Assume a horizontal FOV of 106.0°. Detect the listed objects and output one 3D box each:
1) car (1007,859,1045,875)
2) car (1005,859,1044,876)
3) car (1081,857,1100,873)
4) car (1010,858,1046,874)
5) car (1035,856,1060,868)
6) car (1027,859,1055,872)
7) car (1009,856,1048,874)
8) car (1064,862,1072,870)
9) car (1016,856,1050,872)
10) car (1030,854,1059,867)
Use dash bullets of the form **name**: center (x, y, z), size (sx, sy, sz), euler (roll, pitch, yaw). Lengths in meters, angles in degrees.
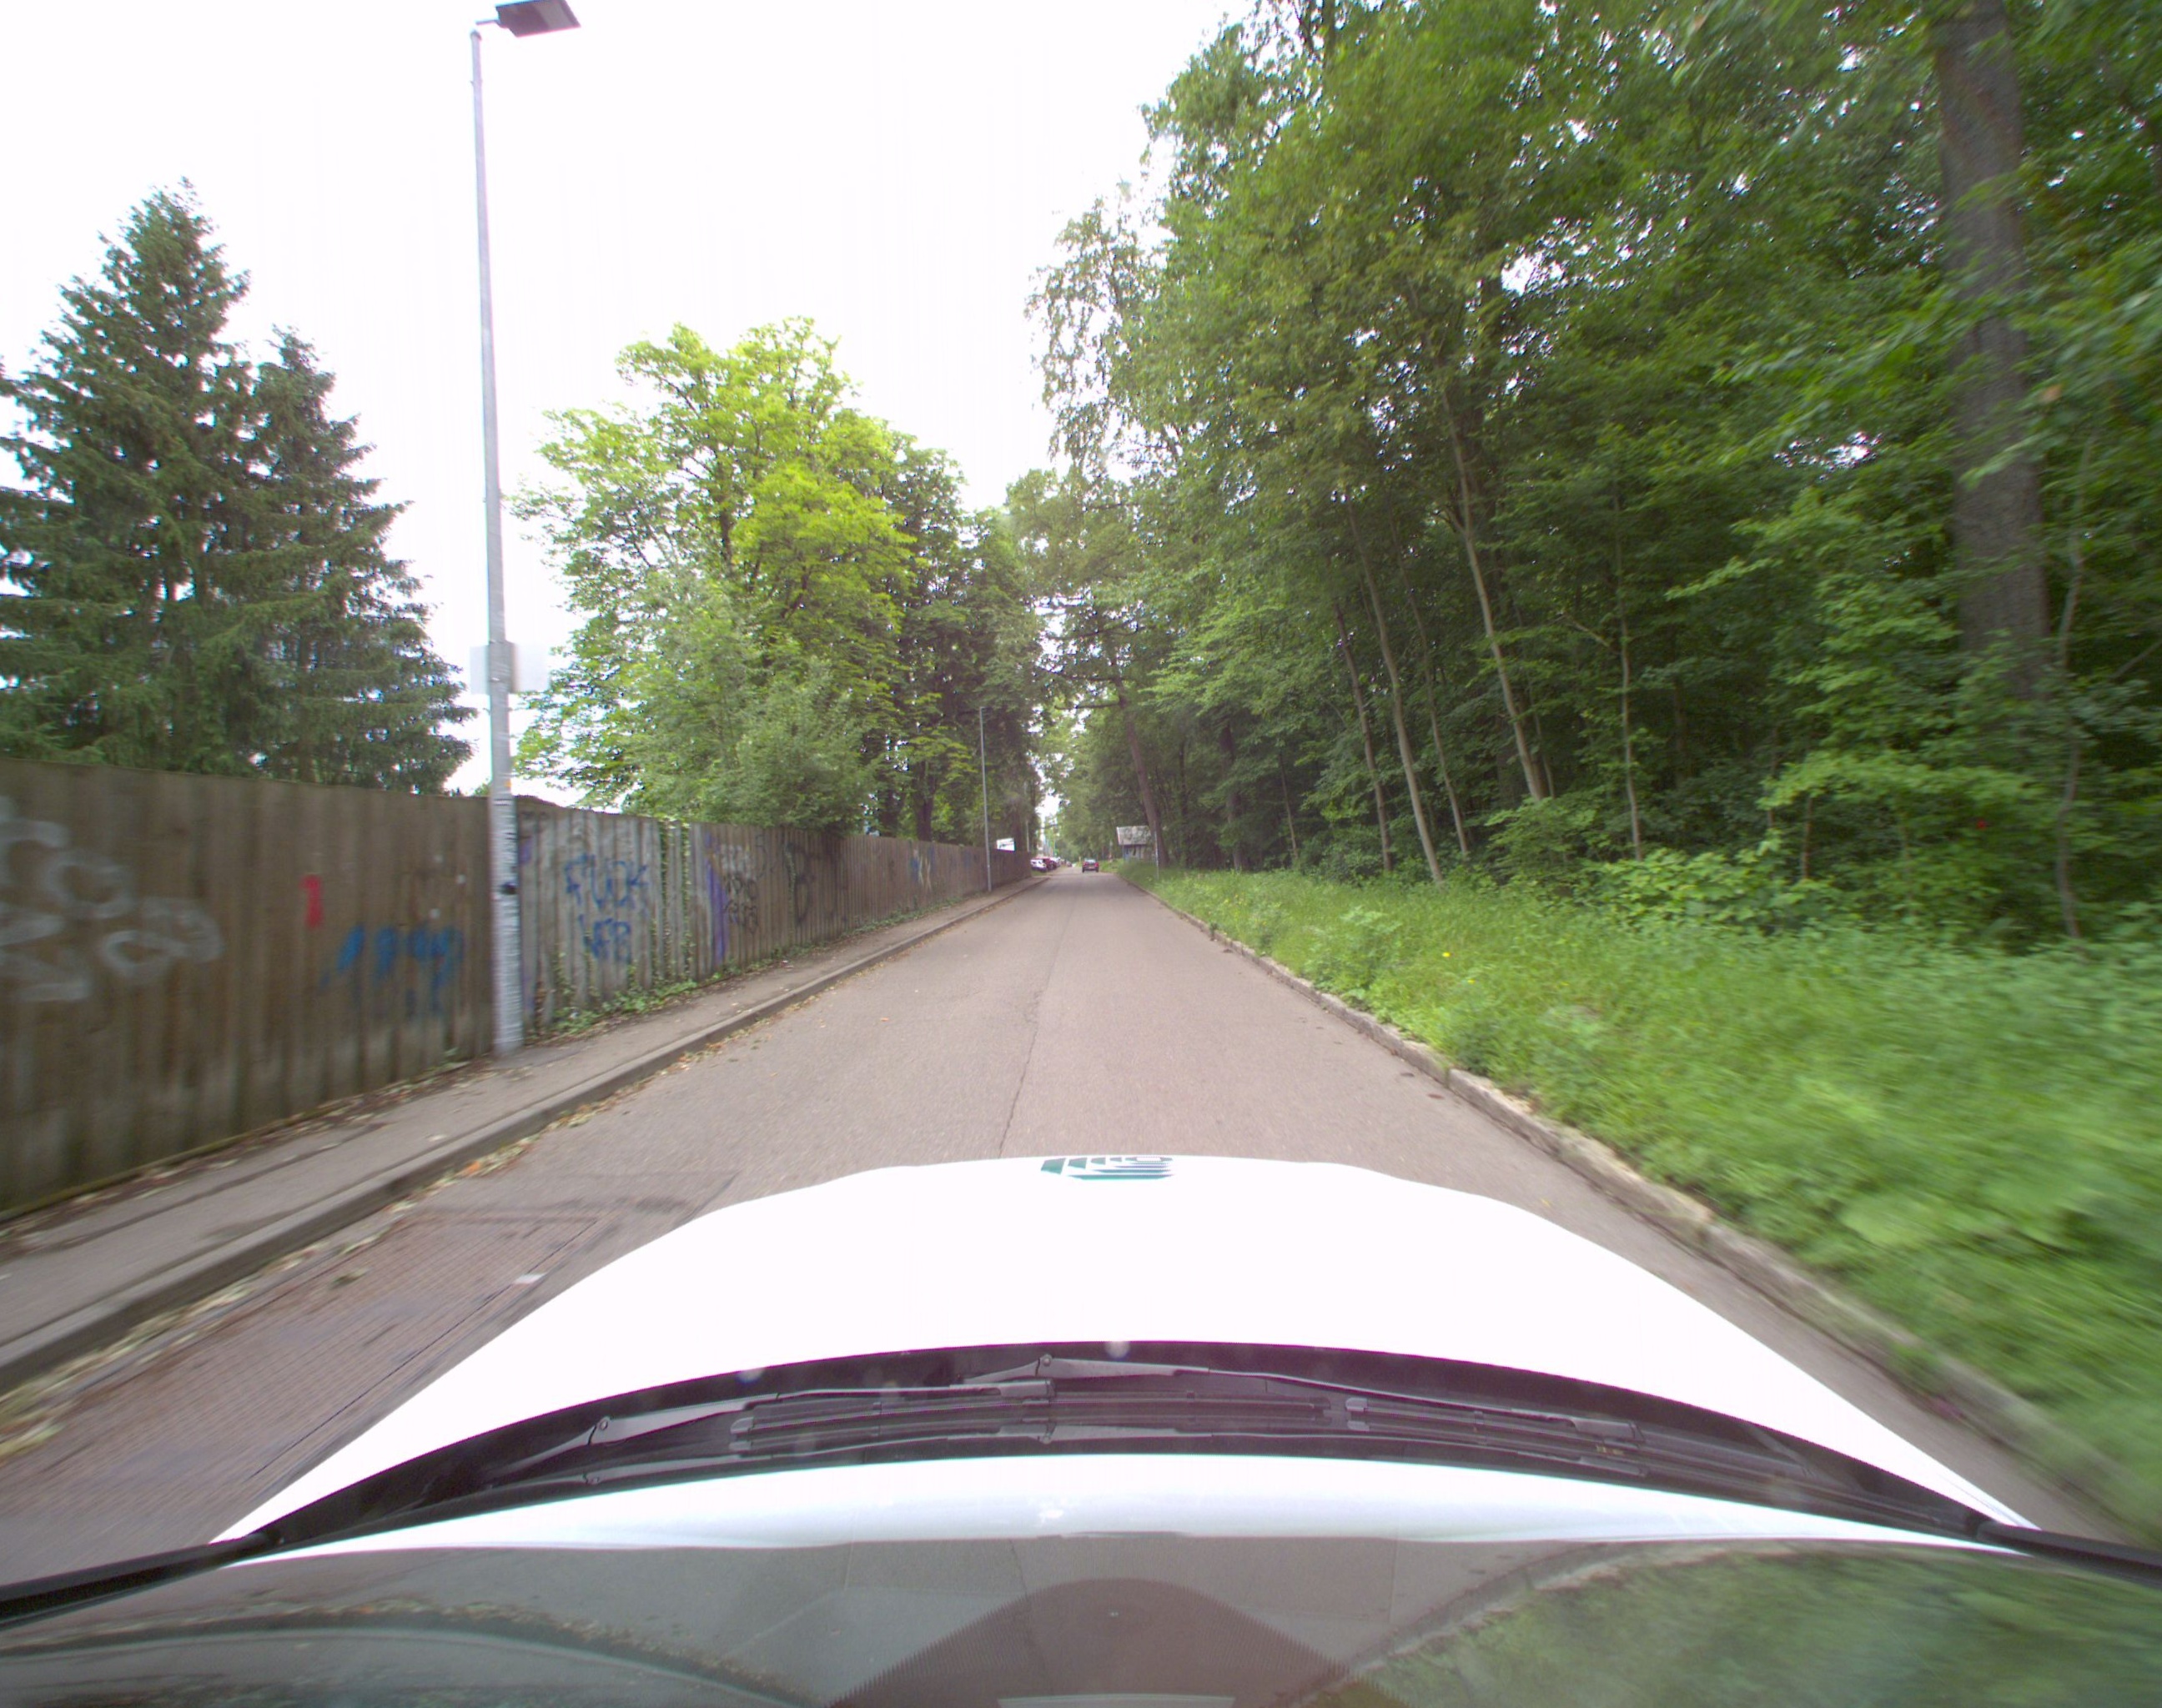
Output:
- **car**: center (-6.056, 1.456, 90.044), size (3.979, 1.574, 1.997), euler (-3, 0, -4)
- **car**: center (-6.042, 1.409, 87.509), size (3.979, 1.574, 1.997), euler (-3, 0, -4)
- **car**: center (1.014, 1.139, 83.966), size (1.901, 1.508, 4.001), euler (-1, -1, 1)
- **car**: center (-6.042, 1.347, 93.137), size (3.979, 1.574, 1.997), euler (-4, 0, -4)
- **car**: center (-5.455, 1.369, 133.102), size (3.975, 1.596, 1.764), euler (-5, -1, -1)
- **car**: center (-5.282, 1.511, 107.309), size (3.561, 1.407, 1.650), euler (-3, -1, 0)
- **car**: center (-5.503, 1.147, 85.188), size (3.979, 1.574, 1.997), euler (-4, 0, -4)
- **car**: center (-3.568, 3.309, 224.417), size (1.991, 2.013, 3.992), euler (-3, 0, -5)
- **car**: center (-5.806, 1.230, 98.298), size (3.979, 1.750, 1.997), euler (-3, -1, -4)
- **car**: center (-5.195, 0.922, 116.923), size (3.975, 1.596, 1.764), euler (-5, -1, -1)
